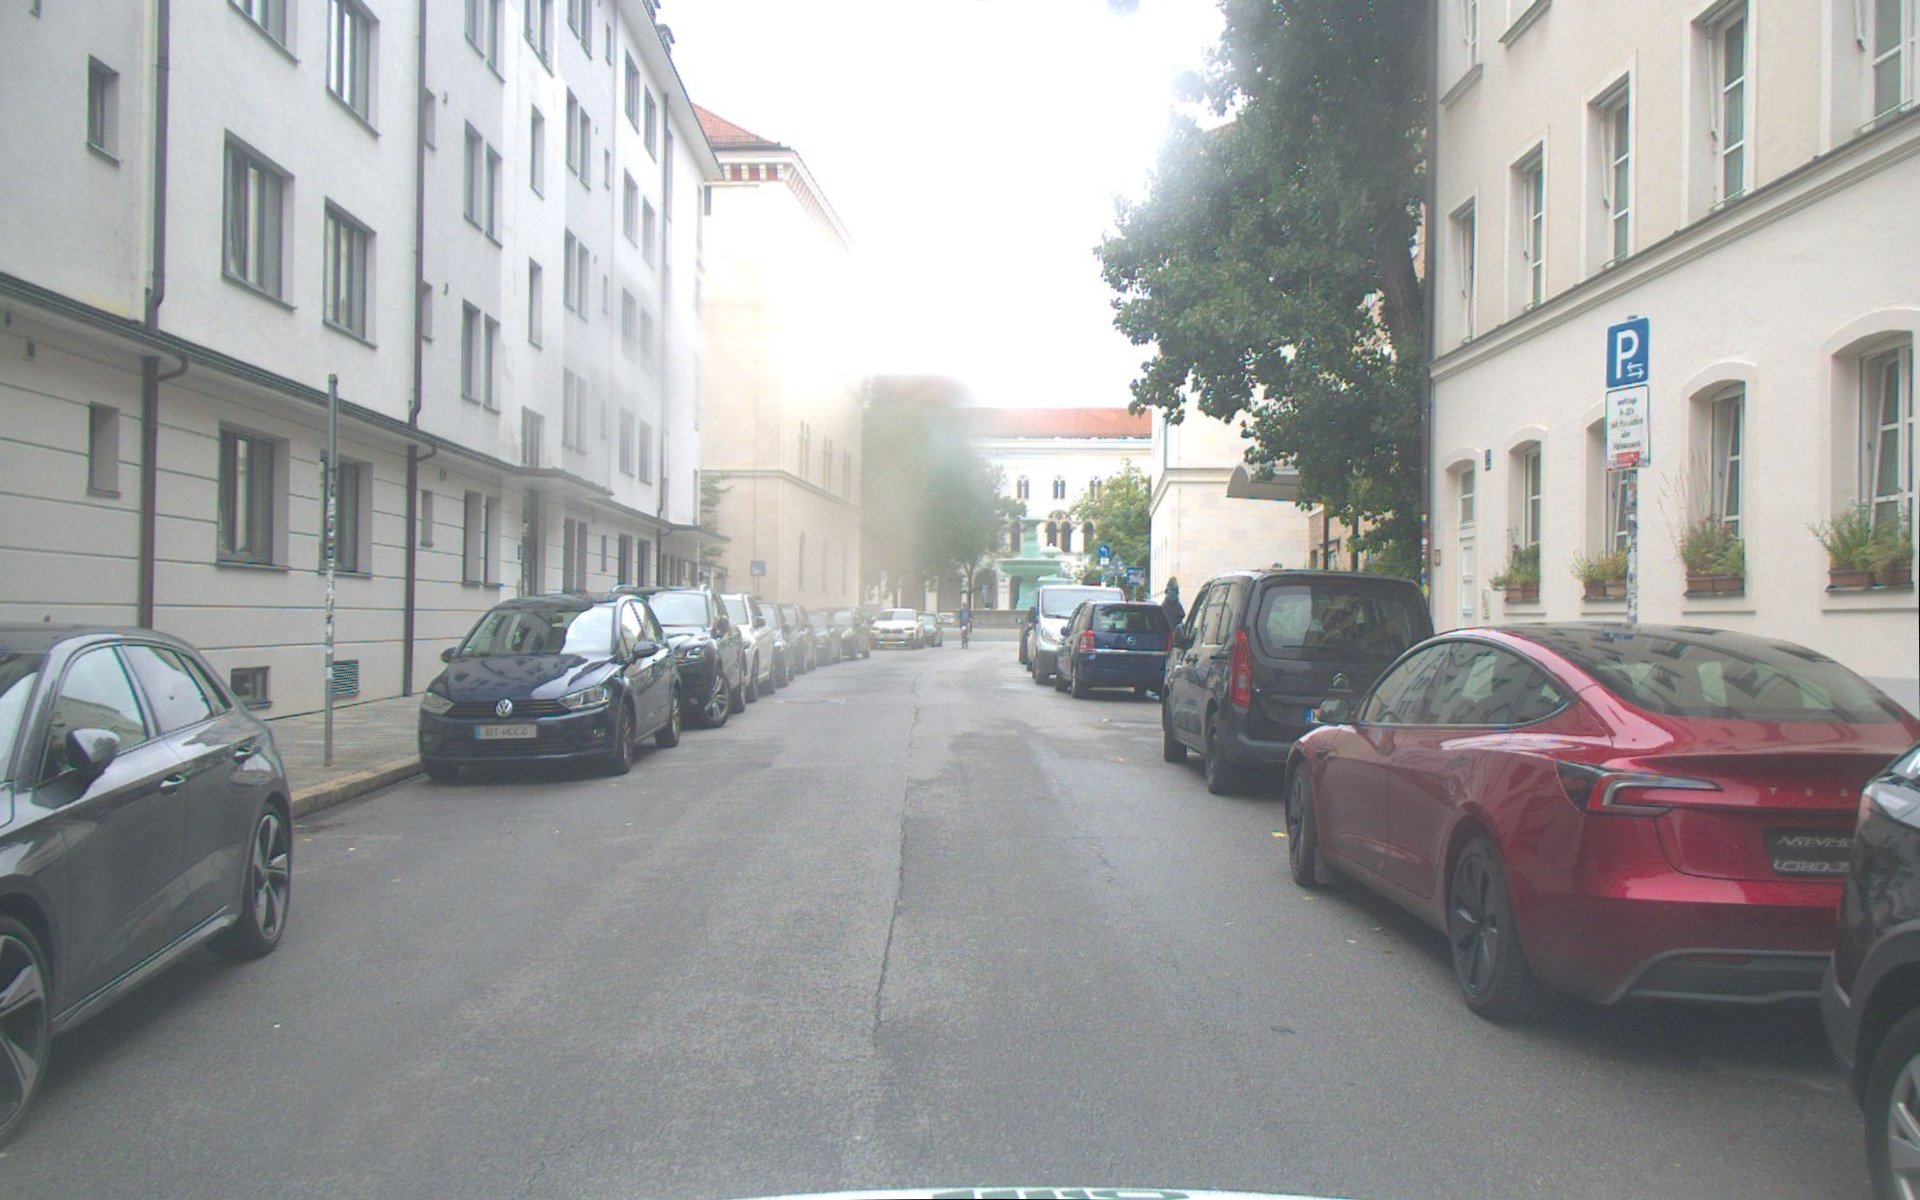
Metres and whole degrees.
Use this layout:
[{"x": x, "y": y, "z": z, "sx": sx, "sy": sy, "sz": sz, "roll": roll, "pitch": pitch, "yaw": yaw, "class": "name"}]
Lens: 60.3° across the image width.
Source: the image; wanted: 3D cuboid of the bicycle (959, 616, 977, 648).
[{"x": 0.314, "y": 1.240, "z": 65.245, "sx": 0.635, "sy": 1.218, "sz": 1.950, "roll": -1, "pitch": 0, "yaw": 2, "class": "bicycle"}]

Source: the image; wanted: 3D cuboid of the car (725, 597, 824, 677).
[{"x": -4.224, "y": 0.801, "z": 38.207, "sx": 1.834, "sy": 1.687, "sz": 4.079, "roll": -1, "pitch": 0, "yaw": -1, "class": "car"}]

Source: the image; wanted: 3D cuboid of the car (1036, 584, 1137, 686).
[{"x": 2.540, "y": 0.678, "z": 34.190, "sx": 1.843, "sy": 1.958, "sz": 4.875, "roll": 0, "pitch": 0, "yaw": 1, "class": "car"}]

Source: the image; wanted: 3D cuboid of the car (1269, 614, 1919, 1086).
[{"x": 2.709, "y": 0.799, "z": 7.418, "sx": 1.679, "sy": 1.449, "sz": 4.456, "roll": 0, "pitch": 0, "yaw": -2, "class": "car"}]

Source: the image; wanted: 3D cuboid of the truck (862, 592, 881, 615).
[{"x": -10.051, "y": 0.404, "z": 188.034, "sx": 1.955, "sy": 2.532, "sz": 3.995, "roll": 1, "pitch": 0, "yaw": -6, "class": "truck"}]

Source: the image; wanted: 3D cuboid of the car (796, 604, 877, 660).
[{"x": -3.574, "y": 0.901, "z": 48.397, "sx": 1.713, "sy": 1.479, "sz": 4.018, "roll": -1, "pitch": 0, "yaw": 5, "class": "car"}]

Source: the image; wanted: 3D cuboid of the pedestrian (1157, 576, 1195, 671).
[{"x": 5.160, "y": 0.545, "z": 39.498, "sx": 0.777, "sy": 2.236, "sz": 0.813, "roll": 1, "pitch": 0, "yaw": -1, "class": "pedestrian"}]

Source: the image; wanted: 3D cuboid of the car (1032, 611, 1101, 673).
[{"x": 2.660, "y": 1.021, "z": 41.769, "sx": 1.638, "sy": 1.442, "sz": 4.203, "roll": 1, "pitch": 0, "yaw": 3, "class": "car"}]

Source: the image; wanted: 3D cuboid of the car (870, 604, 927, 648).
[{"x": -2.333, "y": 1.003, "z": 63.668, "sx": 1.741, "sy": 1.562, "sz": 4.213, "roll": -1, "pitch": -1, "yaw": 4, "class": "car"}]

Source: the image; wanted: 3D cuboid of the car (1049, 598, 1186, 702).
[{"x": 2.626, "y": 0.795, "z": 28.421, "sx": 1.771, "sy": 1.628, "sz": 4.213, "roll": 1, "pitch": 0, "yaw": -2, "class": "car"}]

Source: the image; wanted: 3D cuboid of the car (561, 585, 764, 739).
[{"x": -3.676, "y": 0.693, "z": 21.192, "sx": 1.834, "sy": 1.717, "sz": 4.519, "roll": -1, "pitch": 0, "yaw": -1, "class": "car"}]

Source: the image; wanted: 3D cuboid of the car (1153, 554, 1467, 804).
[{"x": 2.875, "y": 0.609, "z": 14.509, "sx": 1.809, "sy": 1.807, "sz": 4.200, "roll": 2, "pitch": -1, "yaw": 0, "class": "car"}]

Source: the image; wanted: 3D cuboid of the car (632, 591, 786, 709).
[{"x": -3.940, "y": 0.724, "z": 26.682, "sx": 1.834, "sy": 1.687, "sz": 4.589, "roll": -1, "pitch": 0, "yaw": -1, "class": "car"}]

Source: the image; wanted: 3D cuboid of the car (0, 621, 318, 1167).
[{"x": -3.468, "y": 0.815, "z": 5.353, "sx": 1.608, "sy": 1.378, "sz": 4.052, "roll": -2, "pitch": 0, "yaw": -7, "class": "car"}]

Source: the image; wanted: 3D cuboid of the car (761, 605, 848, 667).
[{"x": -4.056, "y": 0.920, "z": 43.680, "sx": 1.714, "sy": 1.479, "sz": 4.017, "roll": -1, "pitch": 0, "yaw": 2, "class": "car"}]

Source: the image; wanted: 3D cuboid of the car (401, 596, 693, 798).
[{"x": -3.693, "y": 0.782, "z": 15.534, "sx": 1.737, "sy": 1.566, "sz": 4.158, "roll": -1, "pitch": 0, "yaw": -1, "class": "car"}]

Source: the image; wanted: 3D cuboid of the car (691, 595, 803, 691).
[{"x": -4.112, "y": 0.774, "z": 32.583, "sx": 1.835, "sy": 1.687, "sz": 4.587, "roll": -2, "pitch": 0, "yaw": -4, "class": "car"}]

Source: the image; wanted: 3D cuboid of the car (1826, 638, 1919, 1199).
[{"x": 3.067, "y": 0.845, "z": 2.192, "sx": 1.710, "sy": 1.489, "sz": 3.999, "roll": 0, "pitch": 0, "yaw": -1, "class": "car"}]

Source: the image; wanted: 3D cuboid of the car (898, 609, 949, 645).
[{"x": -1.516, "y": 1.136, "z": 70.019, "sx": 1.662, "sy": 1.417, "sz": 4.214, "roll": -1, "pitch": -1, "yaw": 5, "class": "car"}]

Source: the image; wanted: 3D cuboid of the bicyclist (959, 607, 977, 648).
[{"x": 0.321, "y": 1.083, "z": 65.355, "sx": 0.643, "sy": 1.578, "sz": 0.888, "roll": 0, "pitch": -1, "yaw": 2, "class": "bicyclist"}]

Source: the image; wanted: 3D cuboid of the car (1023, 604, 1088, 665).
[{"x": 2.649, "y": 0.948, "z": 46.378, "sx": 1.711, "sy": 1.621, "sz": 3.957, "roll": 1, "pitch": 0, "yaw": 2, "class": "car"}]
